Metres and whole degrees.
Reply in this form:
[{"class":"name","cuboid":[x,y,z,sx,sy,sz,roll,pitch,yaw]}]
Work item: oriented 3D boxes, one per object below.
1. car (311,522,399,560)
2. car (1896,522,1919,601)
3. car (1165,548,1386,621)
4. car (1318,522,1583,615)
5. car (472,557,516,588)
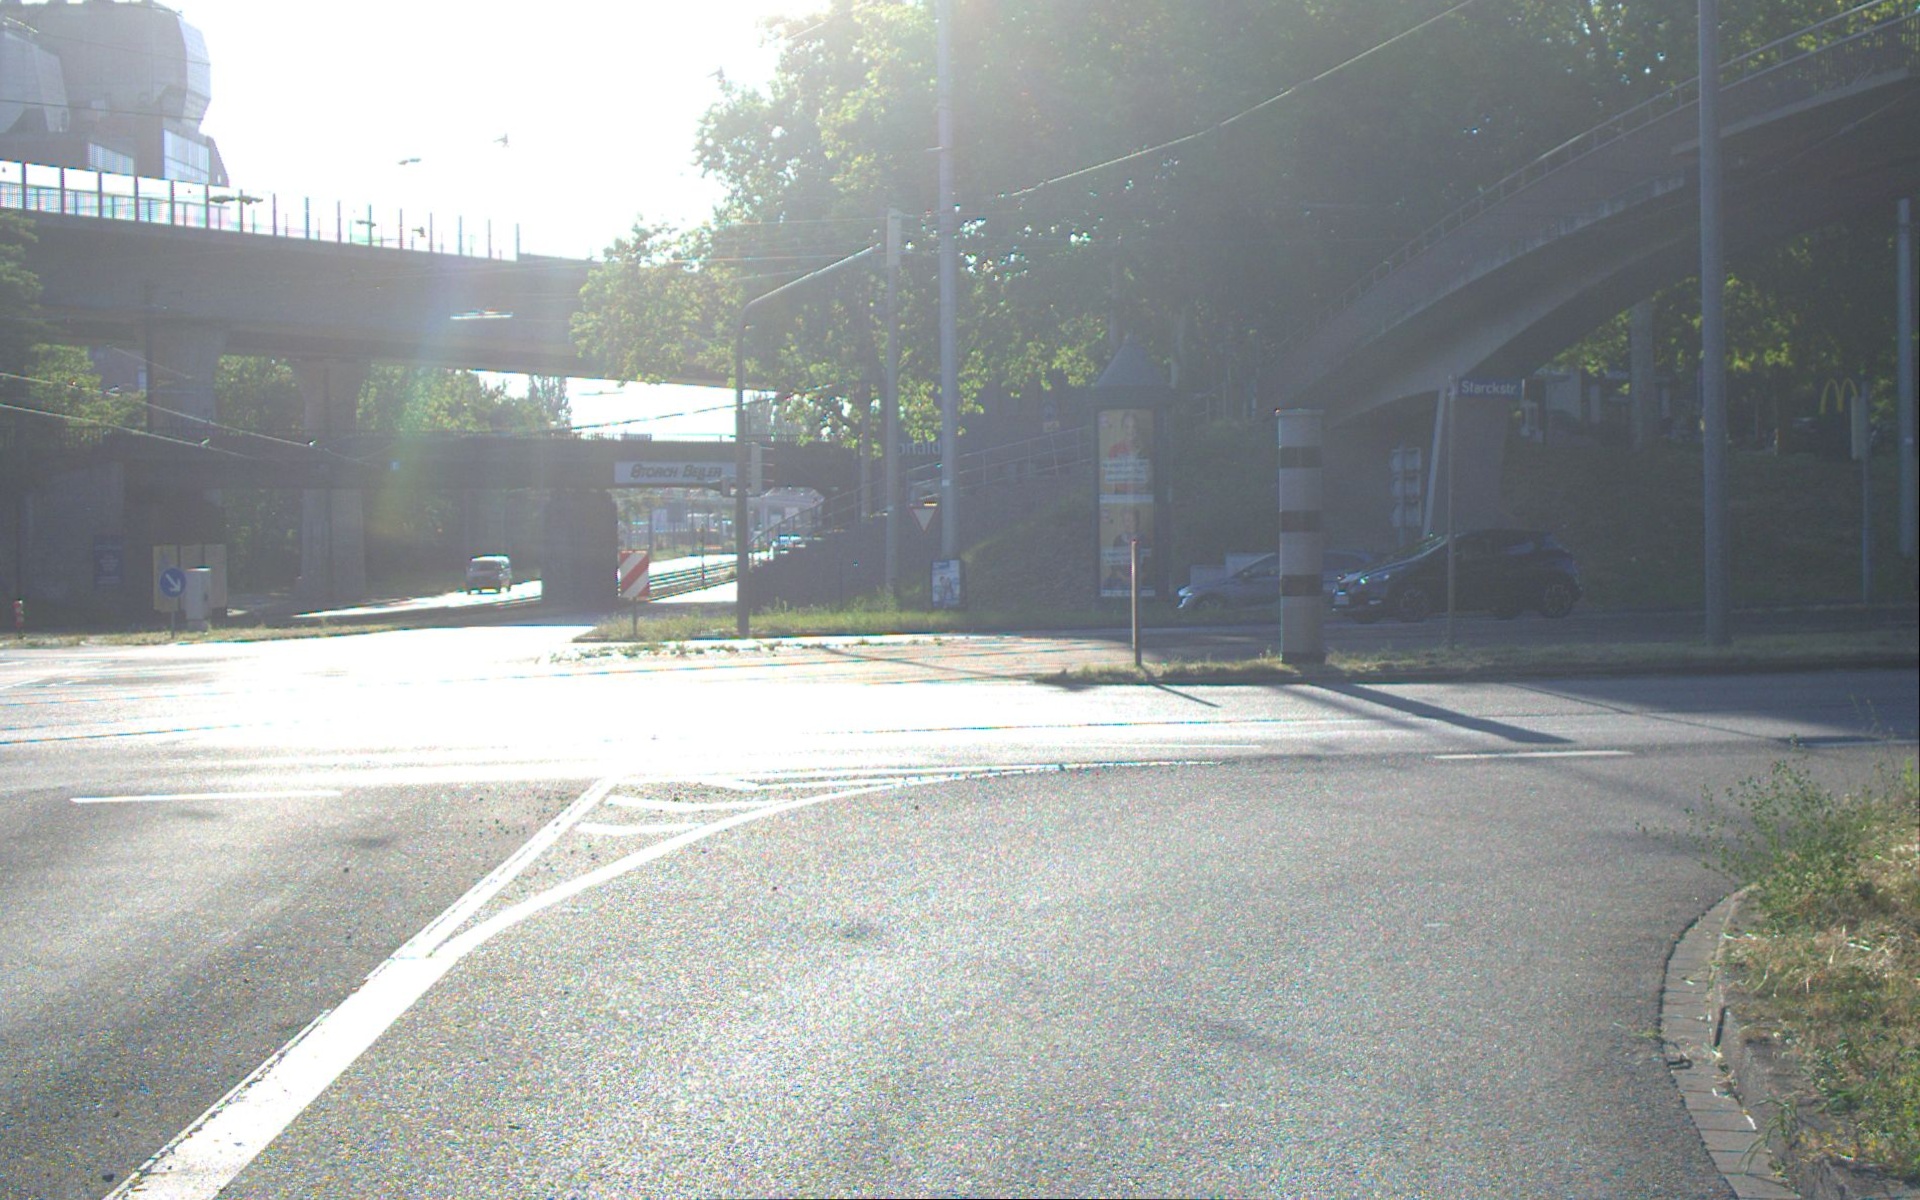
[{"class":"car","cuboid":[-29.028,-2.822,164.915,1.997,1.765,3.993,1,1,32]},{"class":"car","cuboid":[19.058,-0.703,62.299,3.720,1.417,1.697,0,1,-19]},{"class":"car","cuboid":[6.326,-0.328,68.891,4.141,1.417,1.695,0,1,18]},{"class":"car","cuboid":[7.667,-0.499,53.793,3.720,1.417,1.697,0,1,-19]},{"class":"car","cuboid":[-25.665,-1.516,189.416,1.711,1.647,4.095,0,1,3]}]
